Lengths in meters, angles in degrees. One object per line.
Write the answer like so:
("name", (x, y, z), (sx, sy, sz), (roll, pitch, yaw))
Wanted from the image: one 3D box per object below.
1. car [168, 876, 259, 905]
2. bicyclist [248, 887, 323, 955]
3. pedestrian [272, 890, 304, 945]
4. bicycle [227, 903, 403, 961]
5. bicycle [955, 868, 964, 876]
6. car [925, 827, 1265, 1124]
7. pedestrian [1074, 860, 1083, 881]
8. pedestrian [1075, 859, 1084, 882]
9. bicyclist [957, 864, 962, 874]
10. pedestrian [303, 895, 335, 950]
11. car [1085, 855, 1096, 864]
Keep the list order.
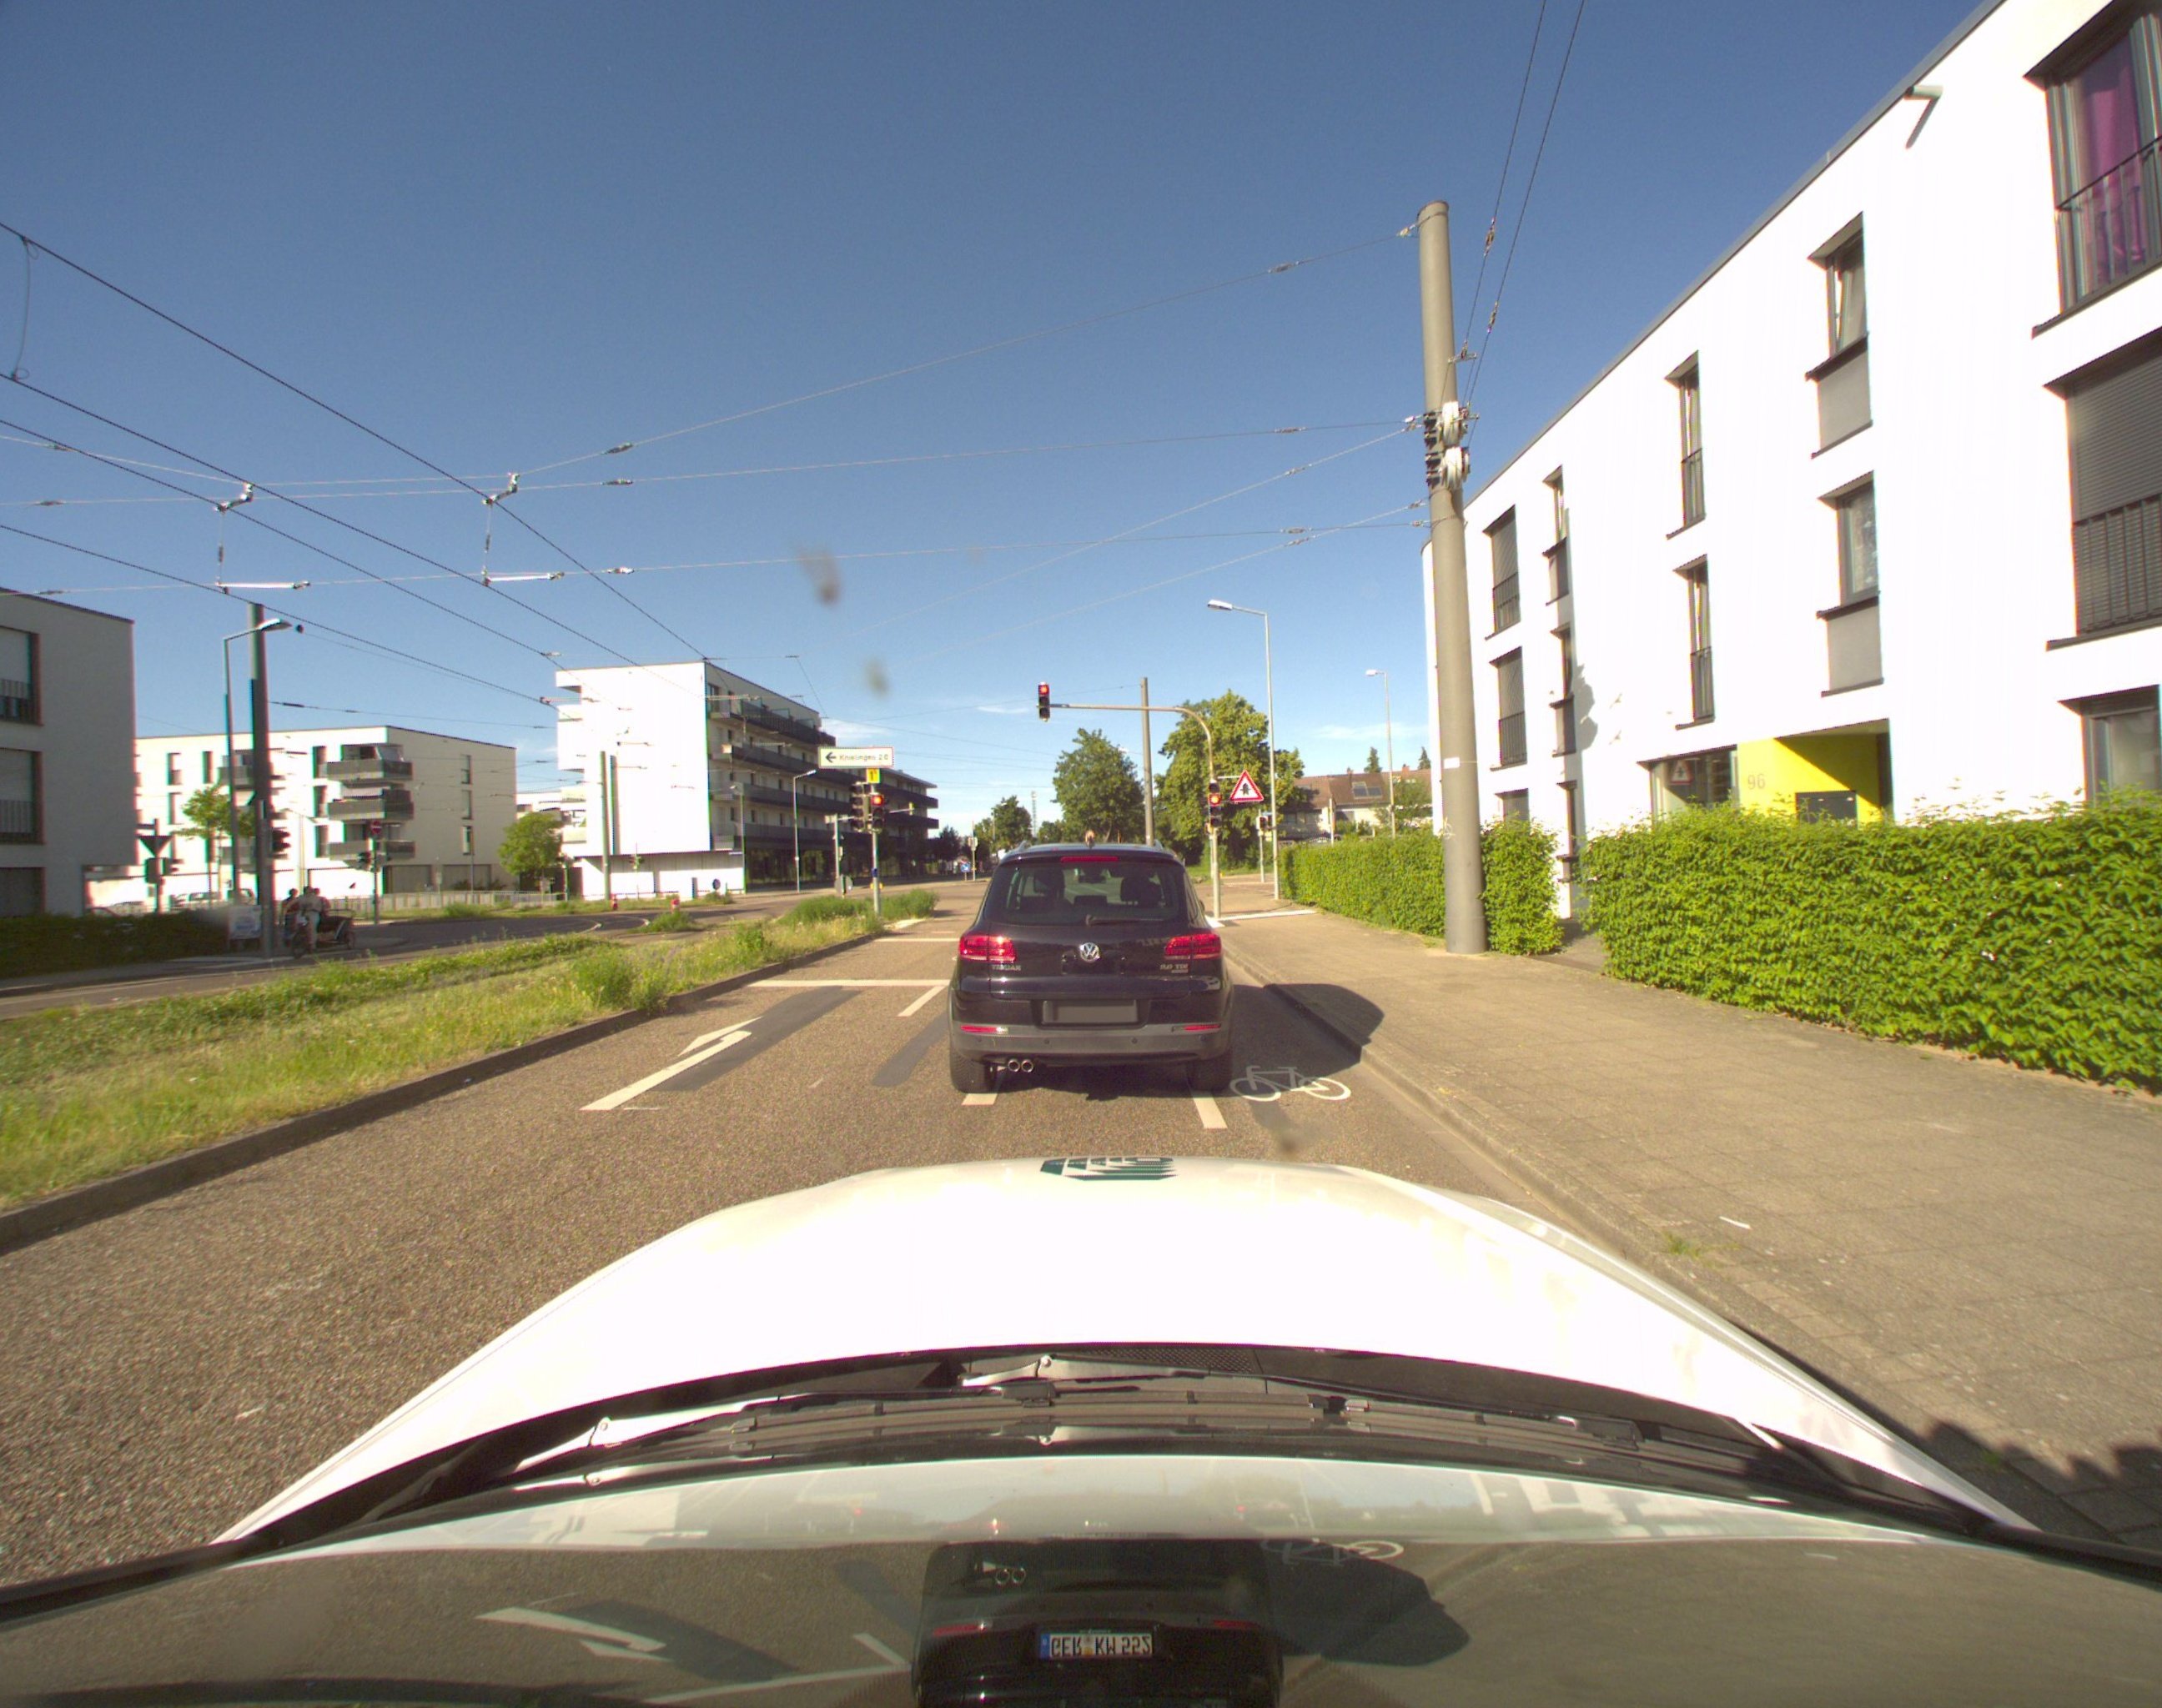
("car", (-58.715, 2.457, 55.174), (3.974, 1.838, 2.000), (-1, 0, 0))
("bicyclist", (-19.863, 1.657, 20.359), (0.969, 1.630, 0.913), (-1, 0, 3))
("pedestrian", (-22.158, 1.753, 22.762), (0.562, 1.464, 0.734), (-1, 0, -40))
("bicycle", (-19.821, 1.974, 21.276), (0.992, 1.174, 3.696), (1, 0, 2))
("bicycle", (-13.906, 2.065, 93.088), (0.493, 0.848, 2.082), (-1, 0, 6))
("car", (0.100, 0.687, 6.604), (1.899, 1.643, 4.000), (-1, 0, 0))
("pedestrian", (-0.161, 1.191, 59.280), (0.600, 1.565, 0.530), (-1, 0, 6))
("pedestrian", (-0.098, 1.199, 59.905), (0.600, 1.640, 0.530), (-1, 0, 6))
("bicyclist", (-13.914, 1.720, 93.283), (0.472, 1.223, 0.713), (-1, 0, 5))
("pedestrian", (-21.368, 1.914, 22.852), (0.561, 1.464, 0.605), (-1, 0, -36))
("car", (1.509, 0.868, 128.982), (1.745, 1.387, 4.000), (-1, 0, 0))
